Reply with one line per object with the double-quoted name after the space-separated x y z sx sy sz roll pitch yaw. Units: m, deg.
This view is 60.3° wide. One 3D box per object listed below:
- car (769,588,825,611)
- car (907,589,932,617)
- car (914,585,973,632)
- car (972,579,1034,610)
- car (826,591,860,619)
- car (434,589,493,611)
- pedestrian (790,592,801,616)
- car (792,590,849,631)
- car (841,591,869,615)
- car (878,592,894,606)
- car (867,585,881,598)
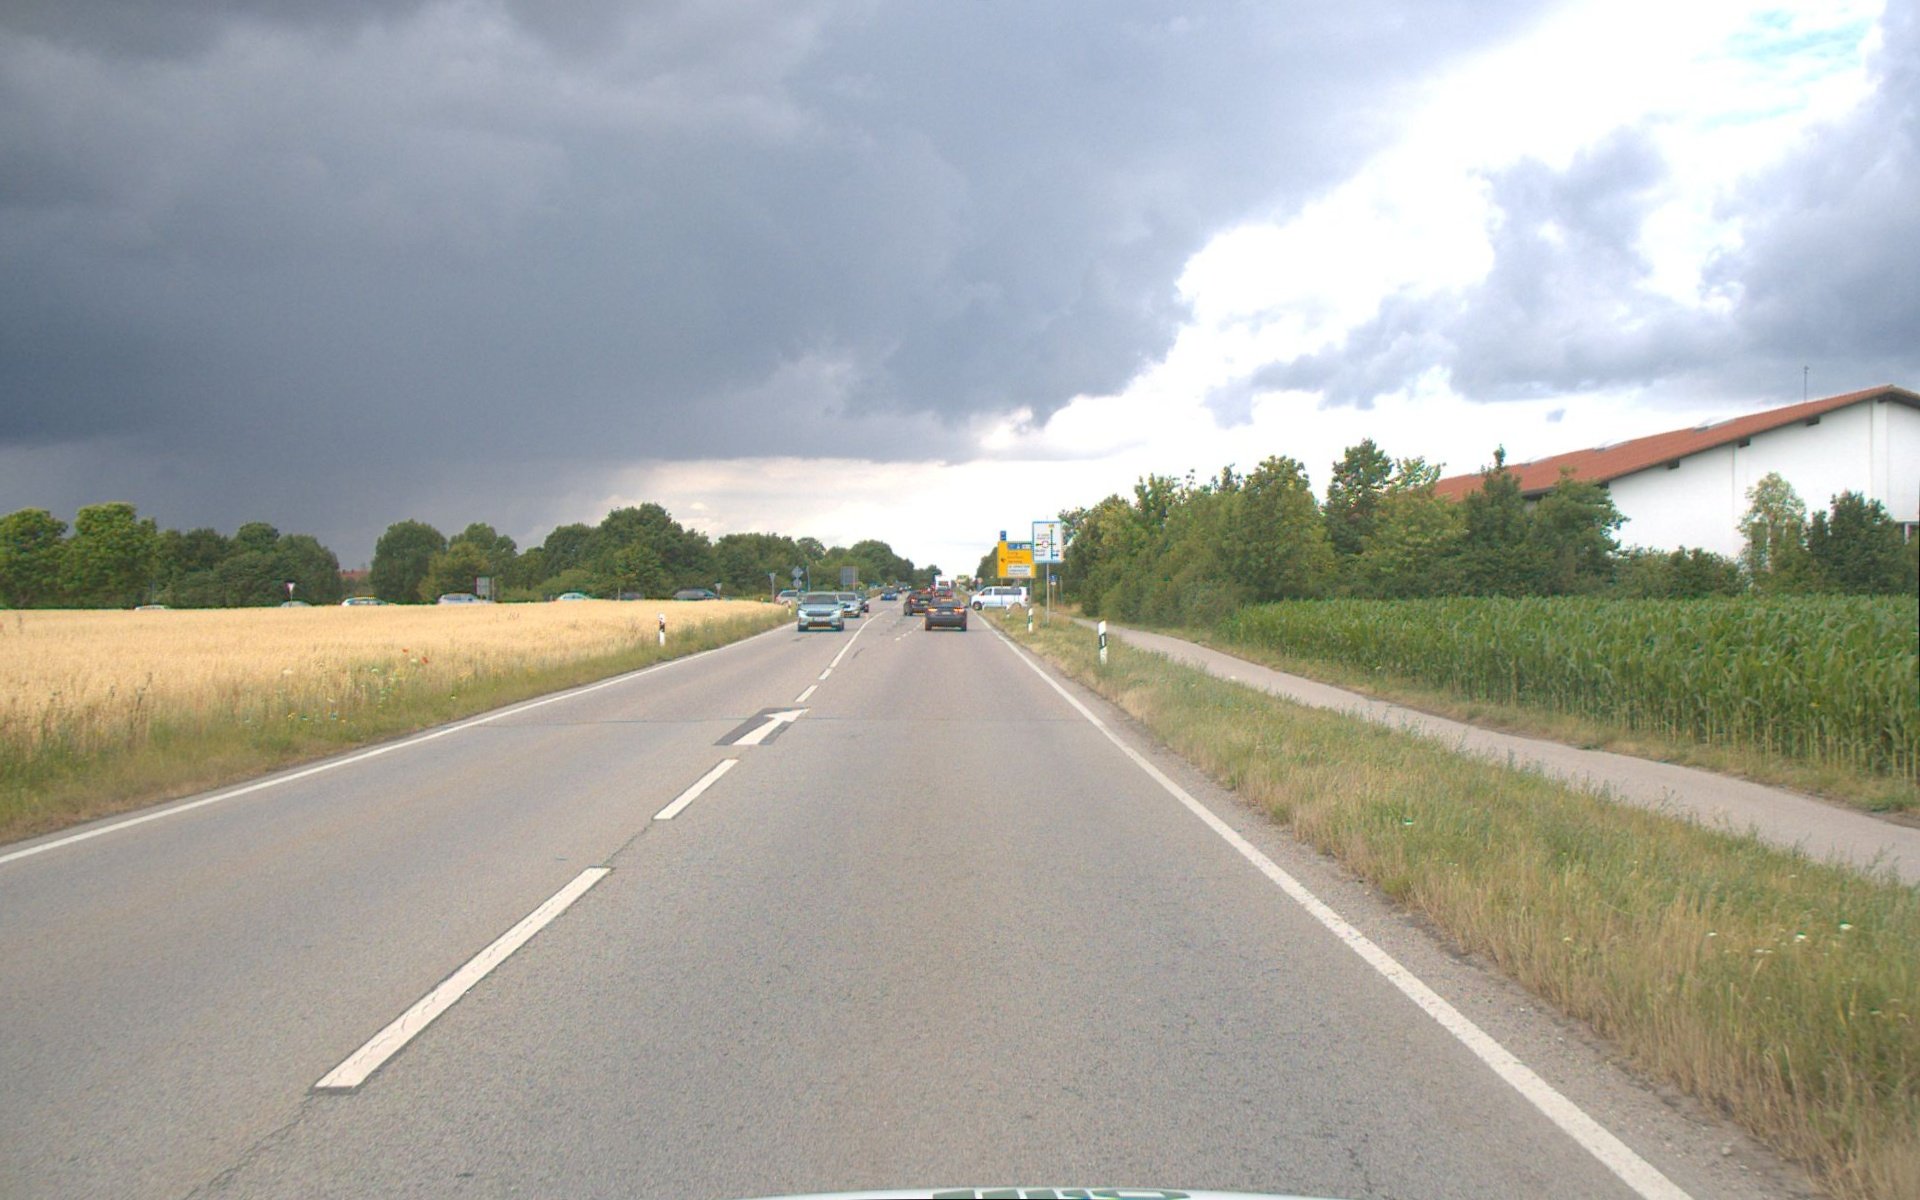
-12.655 -0.045 128.583 4.327 1.678 1.500 -1 0 -6 "car"
-2.623 0.183 106.735 1.539 1.731 3.999 0 0 -1 "car"
-0.761 0.356 71.702 2.325 1.913 4.475 -2 0 -3 "car"
3.531 -0.463 134.974 4.732 2.495 2.007 -1 0 10 "car"
-6.992 0.302 98.917 1.731 1.629 4.929 0 0 -1 "car"
-38.870 -0.019 129.502 3.986 1.678 1.867 -1 0 3 "car"
-11.239 0.254 112.908 0.360 1.603 0.701 -1 0 35 "pedestrian"
-5.858 0.404 69.724 2.023 1.608 4.764 -2 0 -1 "car"
-7.428 0.210 117.432 1.816 1.658 3.999 0 0 -1 "car"
-8.294 -0.121 185.322 1.612 1.618 4.000 -1 0 0 "car"
-10.966 -1.138 210.552 1.612 1.618 4.000 -1 0 0 "car"
